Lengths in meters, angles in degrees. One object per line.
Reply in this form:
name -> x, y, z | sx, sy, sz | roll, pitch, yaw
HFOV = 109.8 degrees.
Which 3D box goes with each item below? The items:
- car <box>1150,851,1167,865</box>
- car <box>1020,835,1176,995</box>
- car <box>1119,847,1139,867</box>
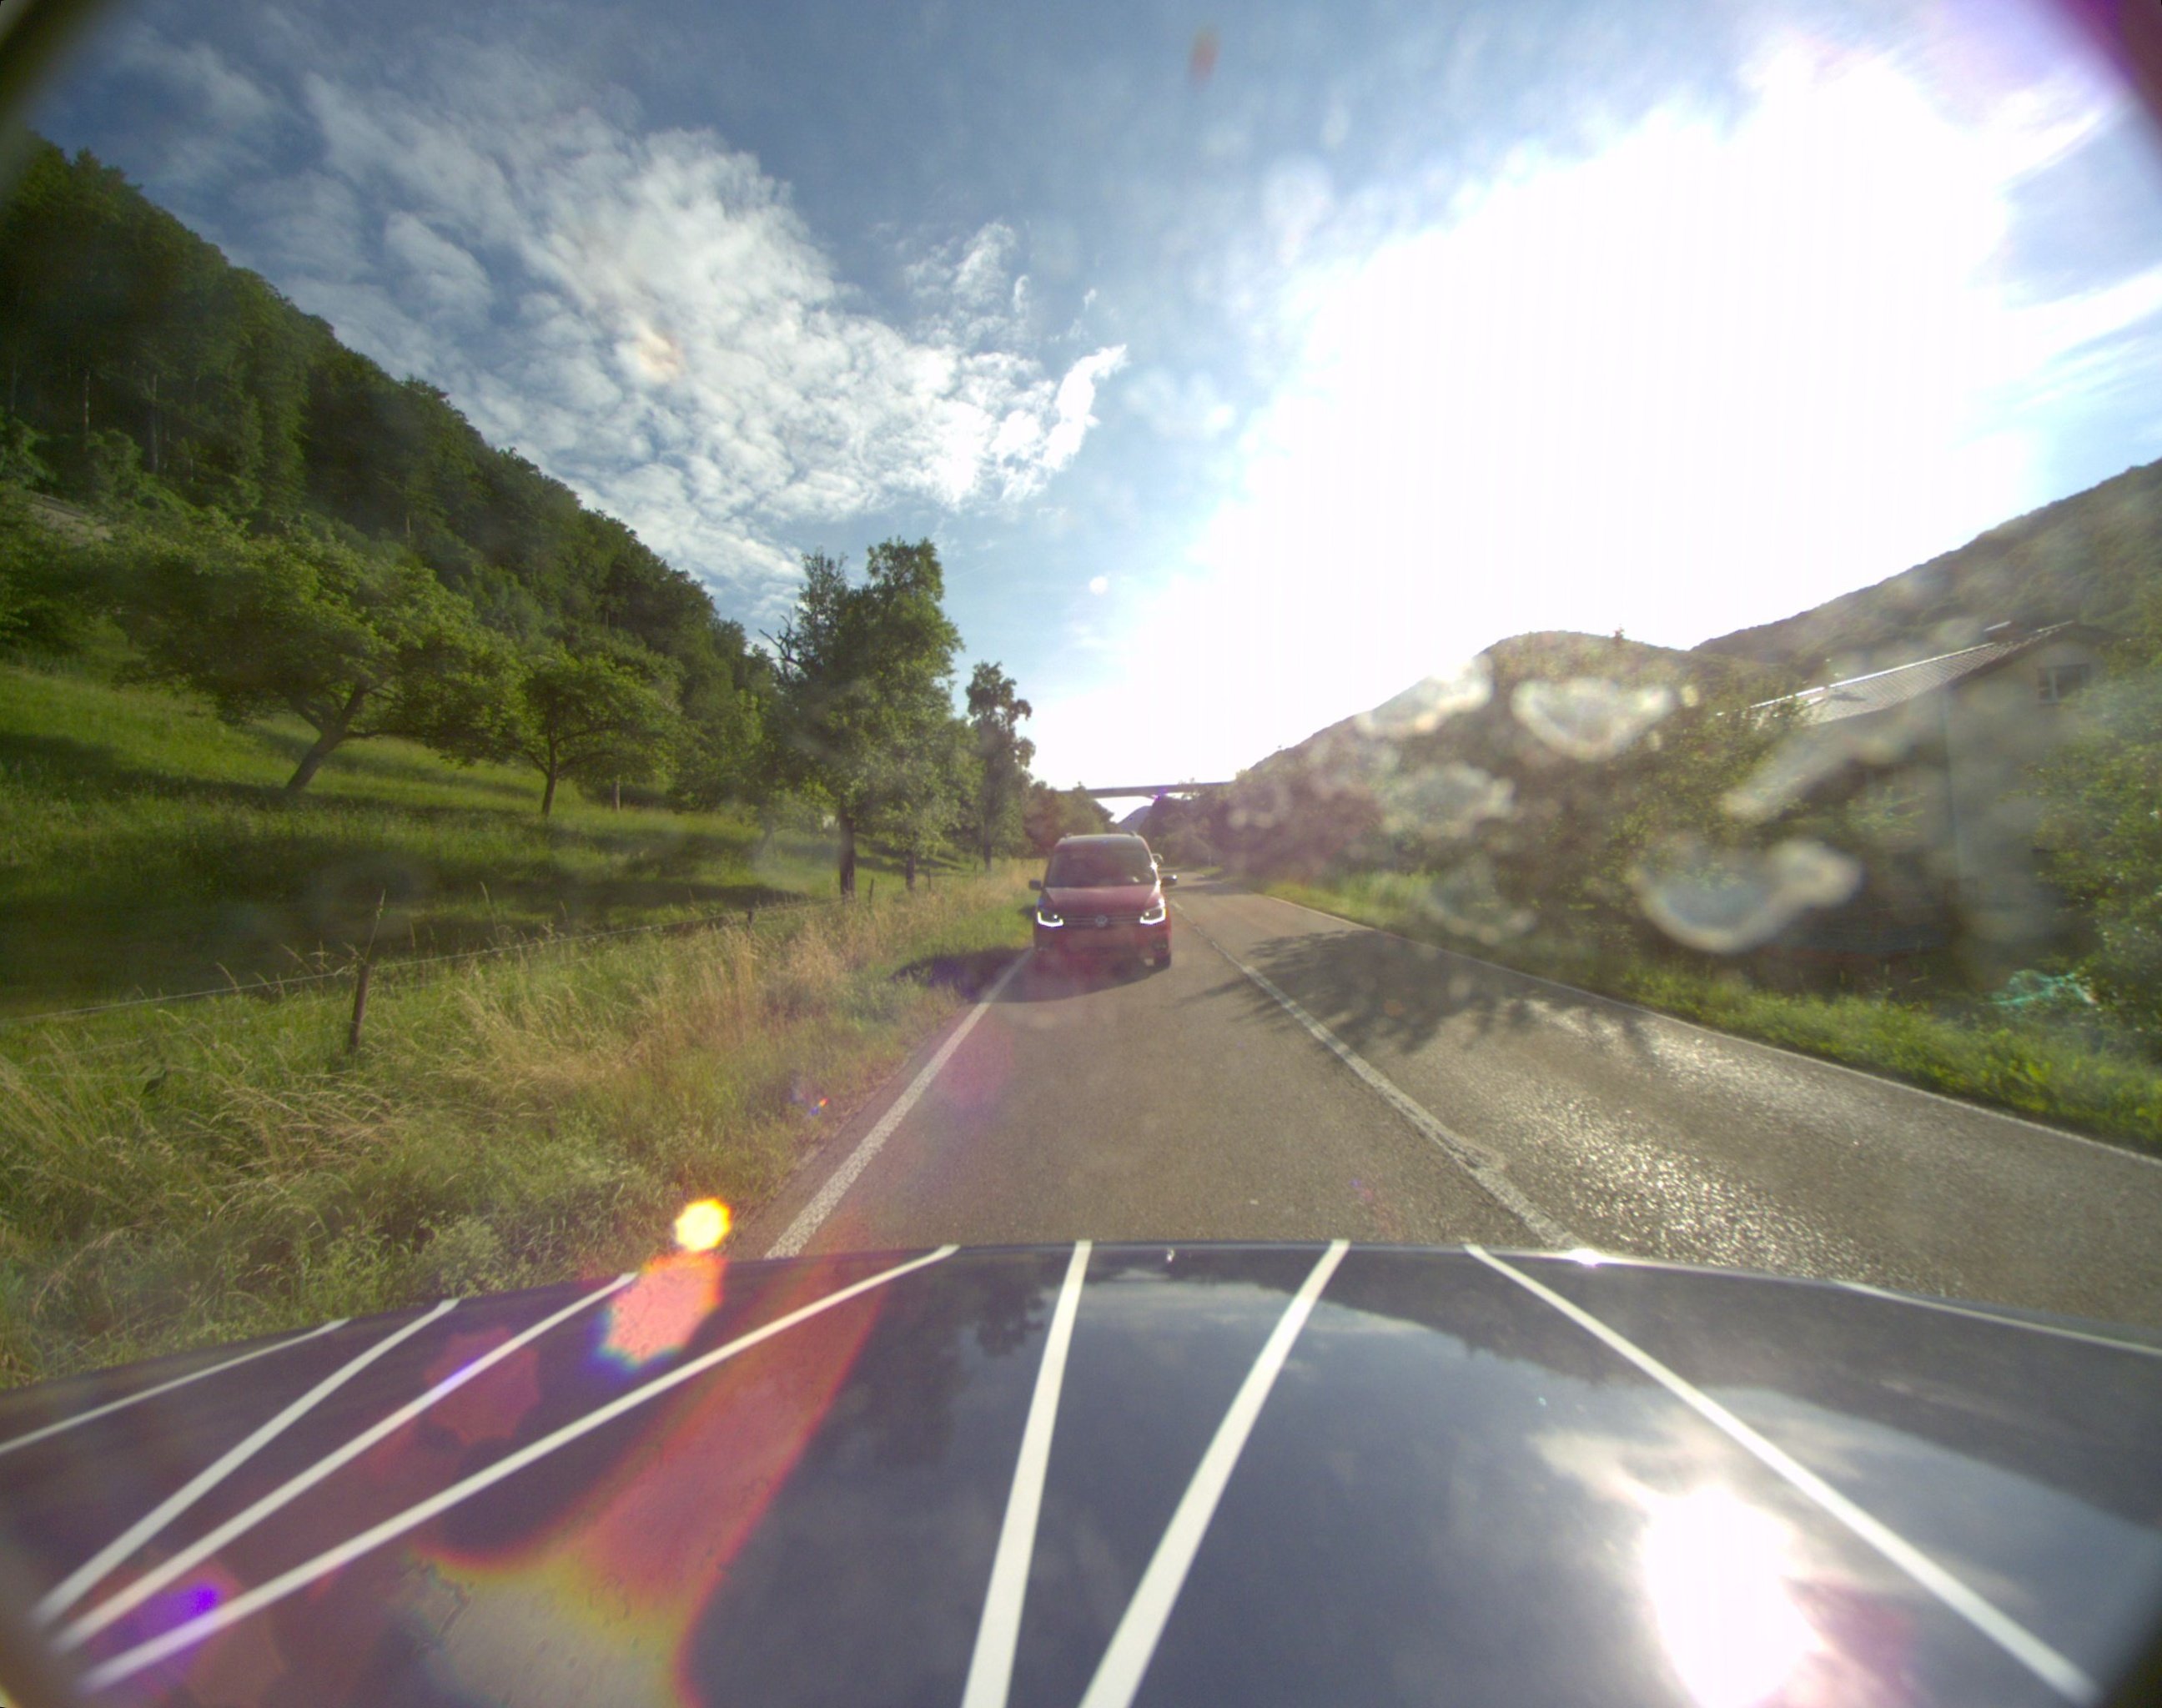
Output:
car -> 8.453, 0.415, 82.931 | 1.696, 1.401, 3.664 | -1, 1, 3
car -> 0.246, 0.693, 10.693 | 1.741, 1.803, 4.000 | -1, 0, 1
car -> 4.989, 0.308, 79.694 | 1.998, 2.002, 4.000 | -2, 1, 3
